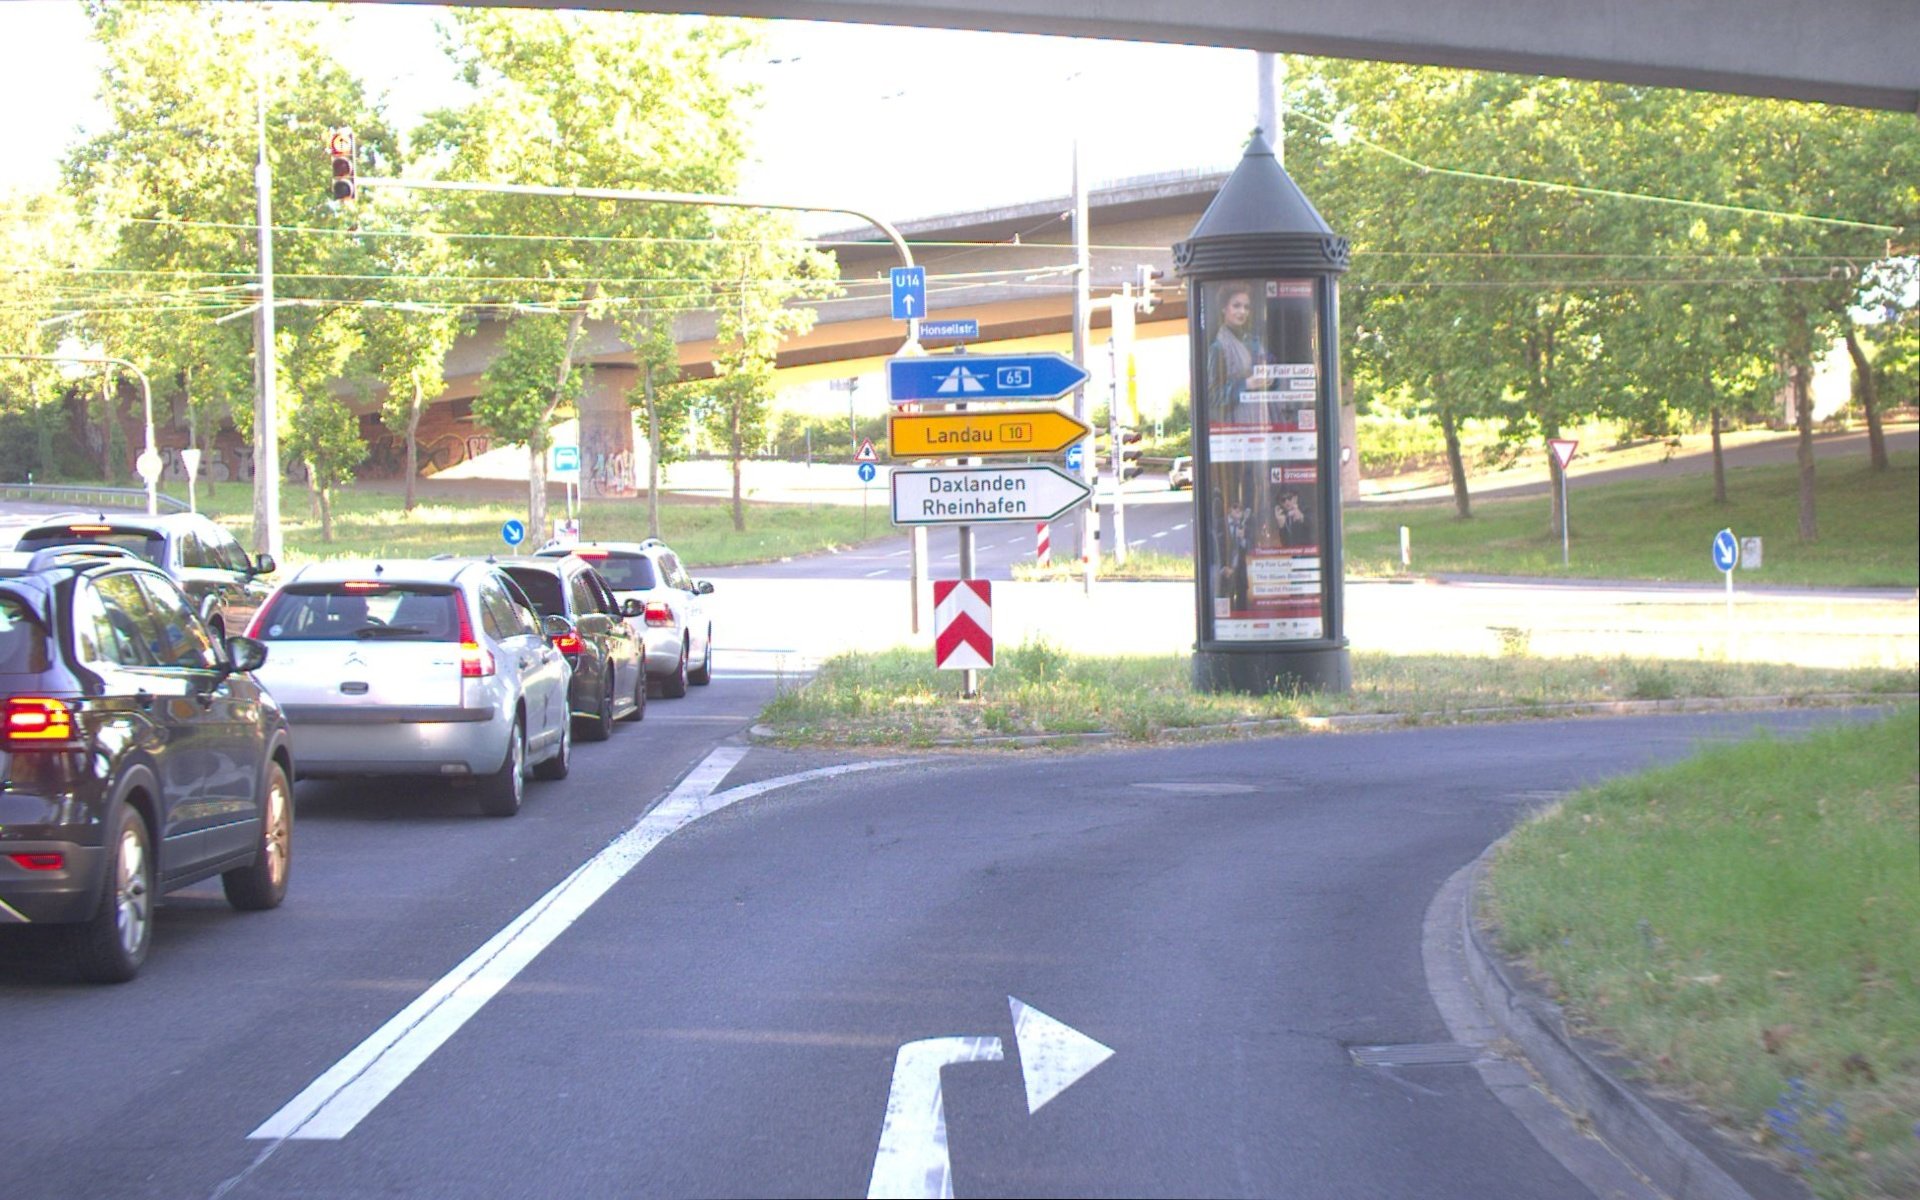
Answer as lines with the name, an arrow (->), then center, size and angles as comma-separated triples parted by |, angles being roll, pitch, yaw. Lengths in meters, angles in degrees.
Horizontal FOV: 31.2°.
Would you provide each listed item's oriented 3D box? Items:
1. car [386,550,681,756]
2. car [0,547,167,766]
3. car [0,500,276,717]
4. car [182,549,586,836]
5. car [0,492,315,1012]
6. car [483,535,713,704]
car -> -3.331, 0.360, 27.637 | 1.792, 1.378, 4.477 | -3, 2, 0
car -> -7.352, 0.351, 25.693 | 1.742, 1.427, 4.411 | 0, 2, 1
car -> -7.566, 0.013, 32.003 | 1.792, 1.786, 4.828 | -3, 2, -5
car -> -3.449, 0.487, 21.288 | 1.792, 1.476, 4.000 | -3, 2, 0
car -> -3.852, 0.493, 13.611 | 1.792, 1.744, 4.000 | -3, 2, 0
car -> -3.478, 0.142, 33.648 | 1.792, 1.437, 4.000 | -3, 2, 0
